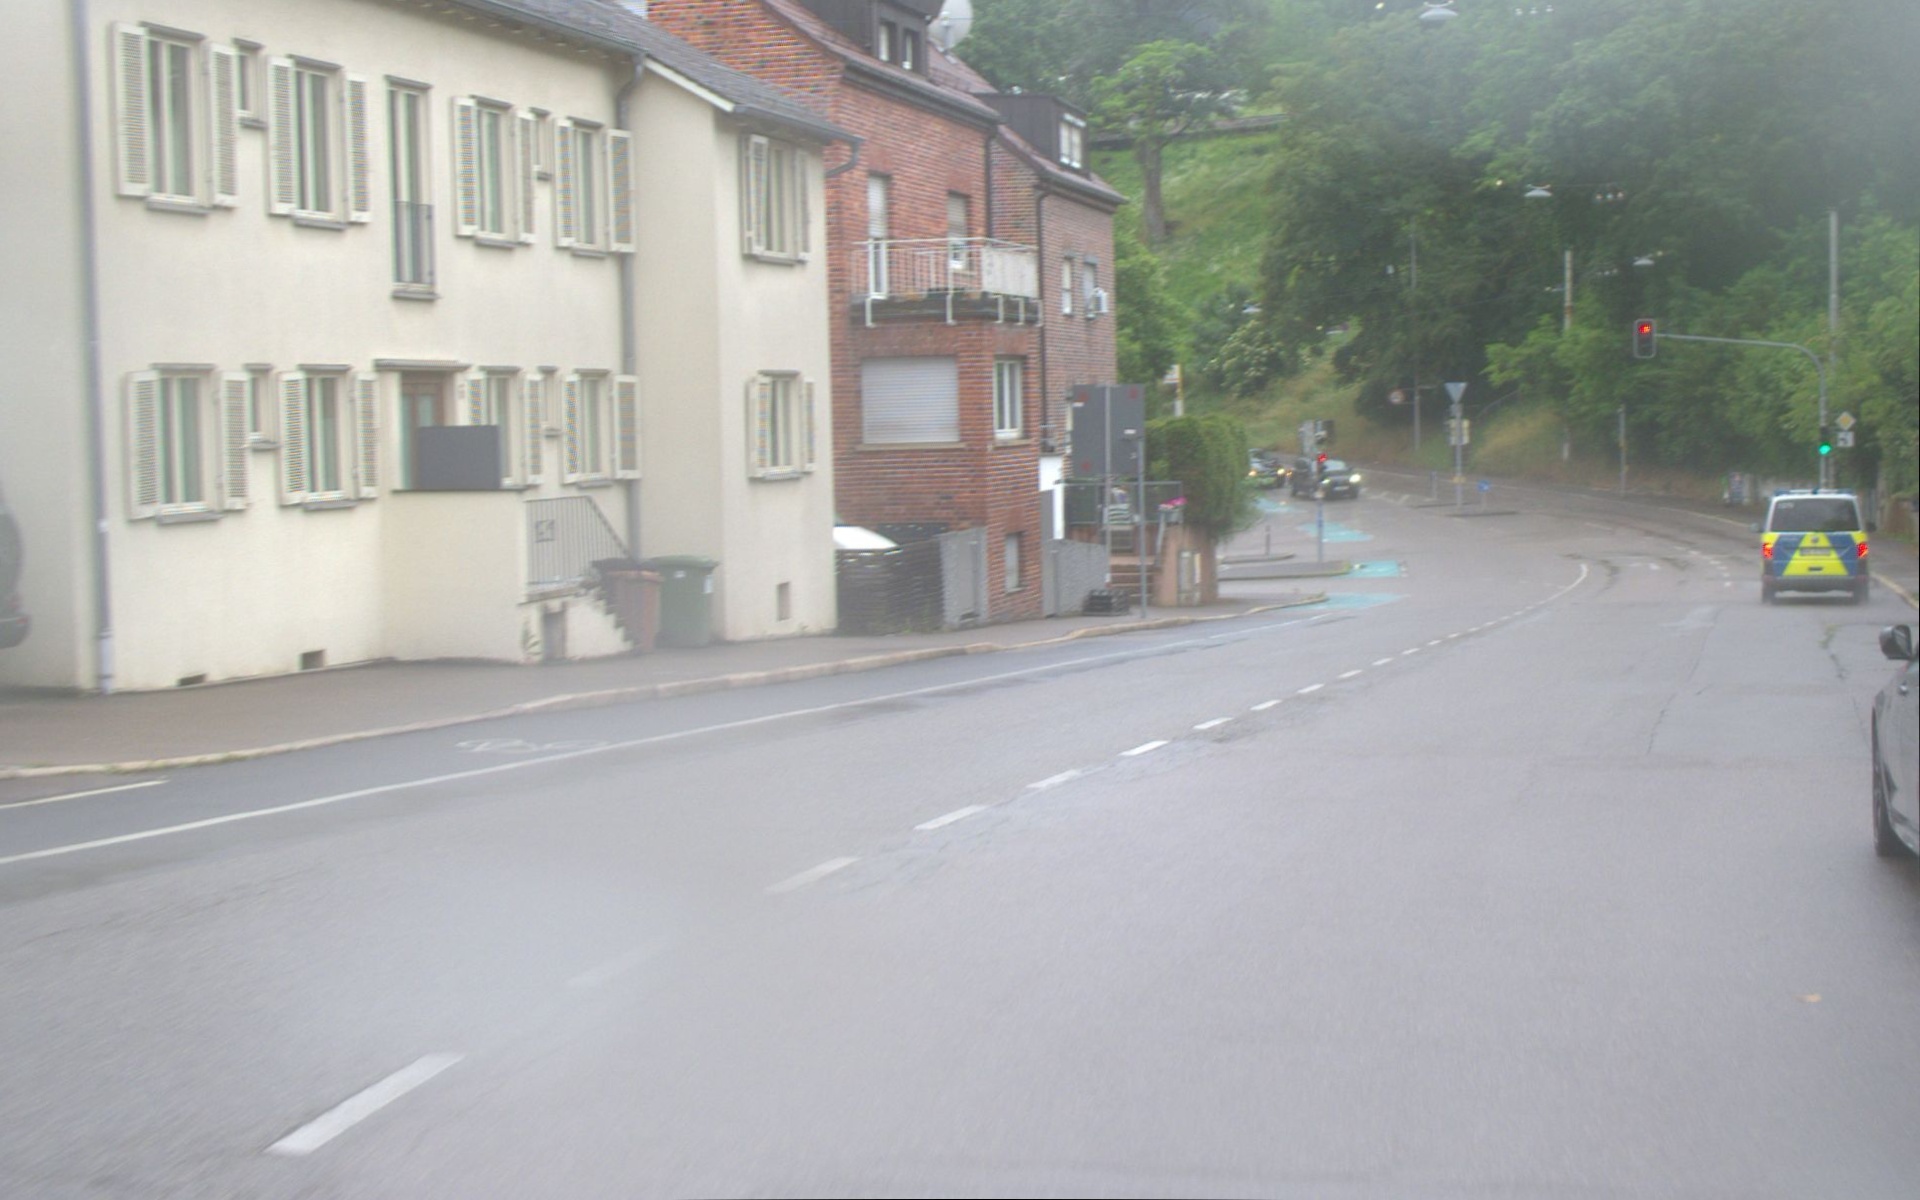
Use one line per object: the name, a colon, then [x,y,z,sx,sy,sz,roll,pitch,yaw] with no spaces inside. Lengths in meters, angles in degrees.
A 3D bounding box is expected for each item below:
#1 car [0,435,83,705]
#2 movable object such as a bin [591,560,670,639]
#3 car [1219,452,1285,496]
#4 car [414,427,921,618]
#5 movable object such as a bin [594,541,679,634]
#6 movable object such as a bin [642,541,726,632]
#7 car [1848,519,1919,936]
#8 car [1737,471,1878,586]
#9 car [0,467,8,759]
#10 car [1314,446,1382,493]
car: [-9.276,-0.221,26.426,4.490,2.006,1.887,-1,2,11]
movable object such as a bin: [-3.660,-0.013,38.190,0.673,0.856,0.708,0,1,14]
car: [11.394,-4.934,134.411,1.741,1.544,4.001,-5,3,-5]
car: [-4.034,-1.032,47.633,6.658,2.545,2.166,0,0,14]
movable object such as a bin: [-3.687,-0.145,39.211,0.782,1.043,0.708,0,1,14]
movable object such as a bin: [-3.213,-0.166,39.994,0.782,1.043,0.738,0,1,14]
car: [4.710,0.415,14.128,1.790,1.491,4.703,0,1,11]
car: [15.074,-1.259,61.328,2.309,1.933,4.323,-1,1,12]
car: [-6.667,0.105,17.087,1.930,1.625,4.676,0,1,10]
car: [14.424,-4.884,128.044,1.741,1.544,4.001,-4,4,-4]
